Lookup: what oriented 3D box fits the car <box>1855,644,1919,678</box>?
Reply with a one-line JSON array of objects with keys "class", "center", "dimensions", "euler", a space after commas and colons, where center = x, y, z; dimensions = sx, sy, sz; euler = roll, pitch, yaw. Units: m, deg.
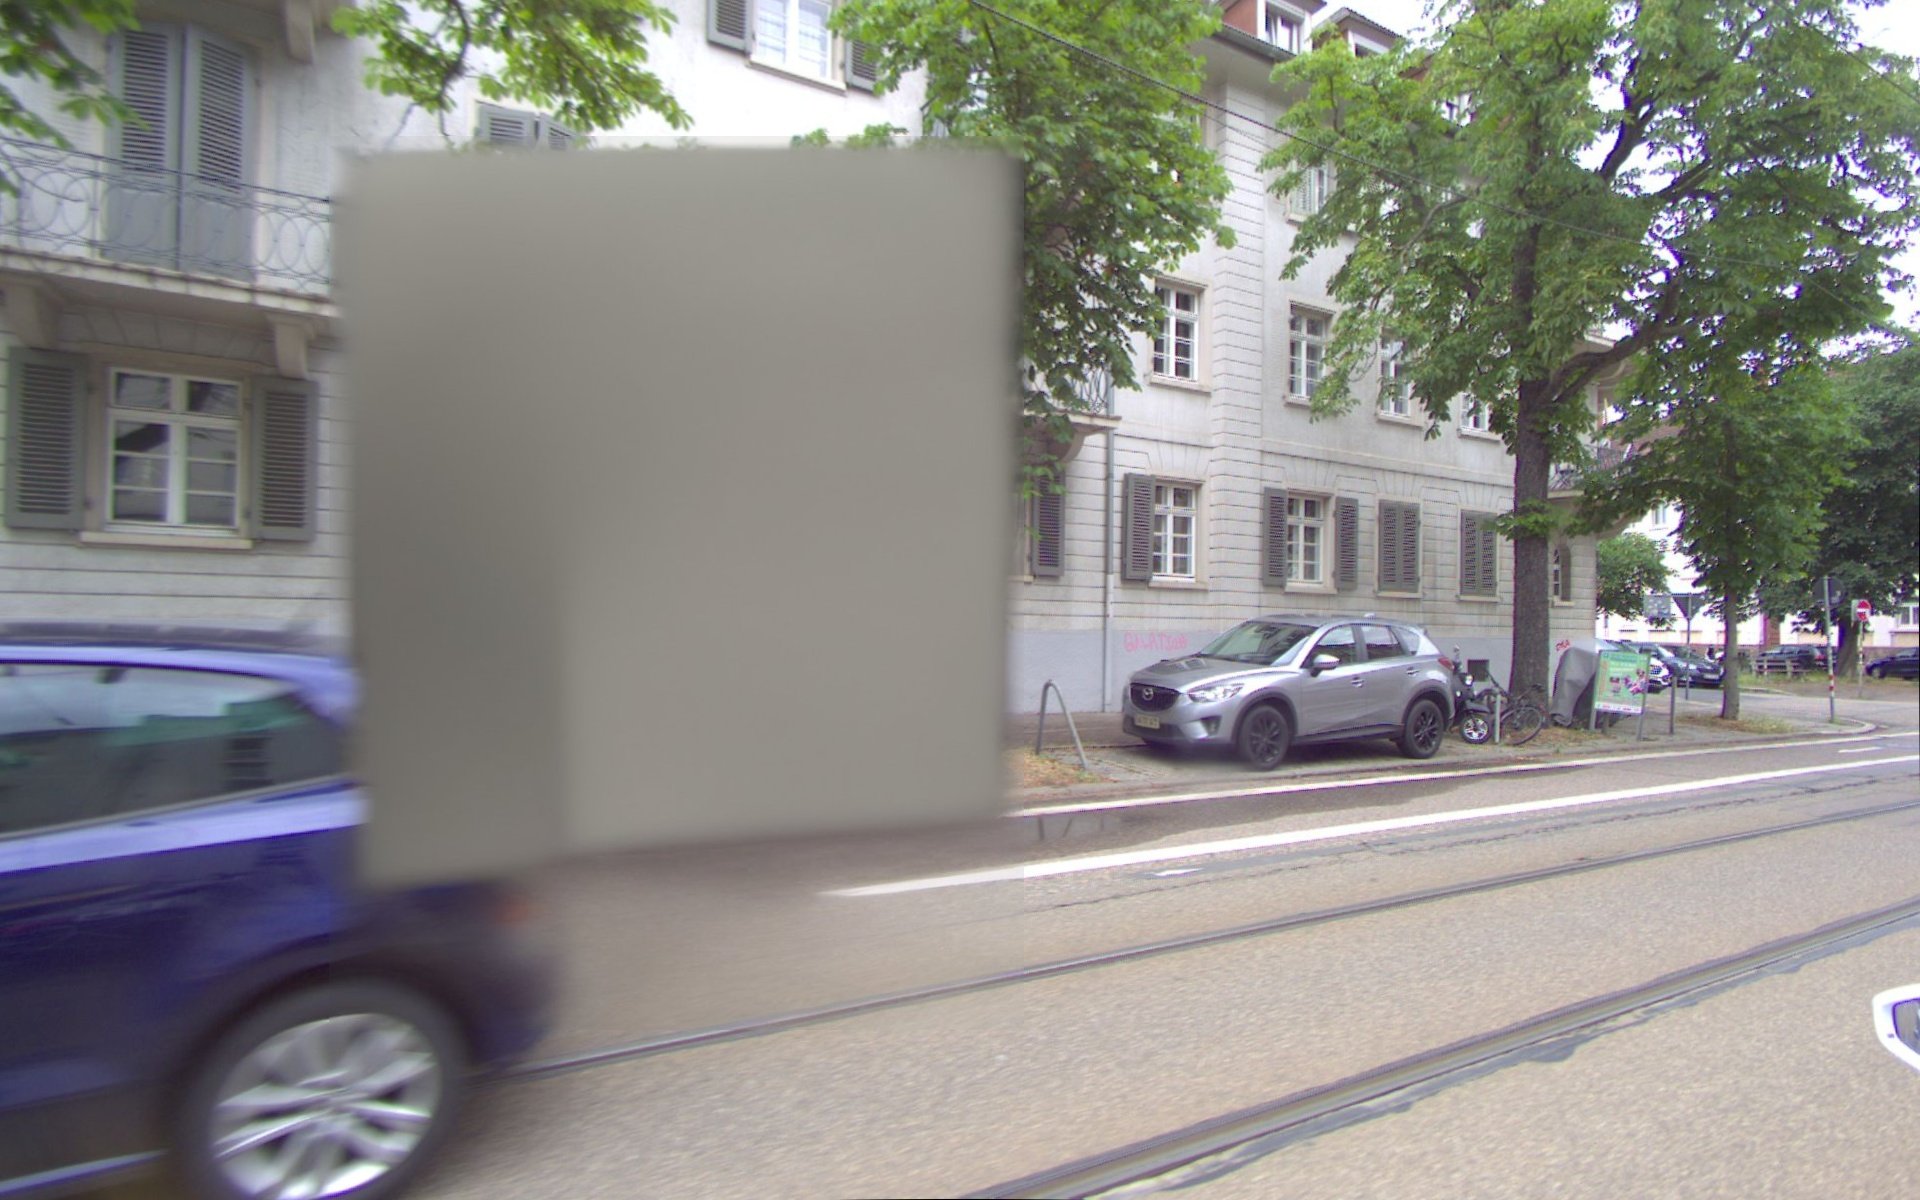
[{"class": "car", "center": [39.774, 2.543, 41.704], "dimensions": [1.708, 1.324, 3.758], "euler": [1, -2, -6]}]

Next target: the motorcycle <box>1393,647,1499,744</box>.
[{"class": "motorcycle", "center": [6.756, 1.301, 14.003], "dimensions": [0.540, 1.238, 1.282], "euler": [1, 0, -23]}]

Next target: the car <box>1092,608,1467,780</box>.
[{"class": "car", "center": [3.853, 1.008, 11.983], "dimensions": [4.241, 1.683, 1.829], "euler": [2, 1, -29]}]

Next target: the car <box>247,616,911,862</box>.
[{"class": "car", "center": [-2.826, 0.916, 8.086], "dimensions": [4.560, 1.485, 1.803], "euler": [2, -1, -31]}]

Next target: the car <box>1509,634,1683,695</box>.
[{"class": "car", "center": [19.093, 1.897, 30.423], "dimensions": [1.904, 1.685, 4.508], "euler": [1, -2, -11]}]

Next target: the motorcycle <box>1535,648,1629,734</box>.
[{"class": "motorcycle", "center": [9.965, 1.416, 16.055], "dimensions": [2.122, 1.274, 0.536], "euler": [2, -2, -37]}]

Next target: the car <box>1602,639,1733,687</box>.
[{"class": "car", "center": [24.249, 2.128, 34.630], "dimensions": [1.629, 1.429, 4.070], "euler": [1, -1, 0]}]

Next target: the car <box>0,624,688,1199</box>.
[{"class": "car", "center": [-2.719, 0.780, 2.528], "dimensions": [3.612, 1.427, 1.721], "euler": [2, -2, -30]}]

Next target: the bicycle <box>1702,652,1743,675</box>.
[{"class": "bicycle", "center": [32.201, 2.666, 42.434], "dimensions": [0.440, 0.937, 1.674], "euler": [0, -2, -1]}]

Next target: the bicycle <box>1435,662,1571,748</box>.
[{"class": "bicycle", "center": [7.602, 1.446, 14.116], "dimensions": [0.917, 1.018, 1.372], "euler": [1, 1, -25]}]

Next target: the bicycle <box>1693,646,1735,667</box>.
[{"class": "bicycle", "center": [41.865, 3.128, 55.798], "dimensions": [0.641, 1.049, 2.191], "euler": [1, -1, -2]}]

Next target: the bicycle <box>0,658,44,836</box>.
[{"class": "bicycle", "center": [-6.281, 0.935, 6.240], "dimensions": [0.558, 1.041, 1.883], "euler": [1, 0, -33]}]

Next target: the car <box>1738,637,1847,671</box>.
[{"class": "car", "center": [39.449, 2.525, 47.718], "dimensions": [1.675, 1.483, 3.941], "euler": [1, -1, -6]}]
